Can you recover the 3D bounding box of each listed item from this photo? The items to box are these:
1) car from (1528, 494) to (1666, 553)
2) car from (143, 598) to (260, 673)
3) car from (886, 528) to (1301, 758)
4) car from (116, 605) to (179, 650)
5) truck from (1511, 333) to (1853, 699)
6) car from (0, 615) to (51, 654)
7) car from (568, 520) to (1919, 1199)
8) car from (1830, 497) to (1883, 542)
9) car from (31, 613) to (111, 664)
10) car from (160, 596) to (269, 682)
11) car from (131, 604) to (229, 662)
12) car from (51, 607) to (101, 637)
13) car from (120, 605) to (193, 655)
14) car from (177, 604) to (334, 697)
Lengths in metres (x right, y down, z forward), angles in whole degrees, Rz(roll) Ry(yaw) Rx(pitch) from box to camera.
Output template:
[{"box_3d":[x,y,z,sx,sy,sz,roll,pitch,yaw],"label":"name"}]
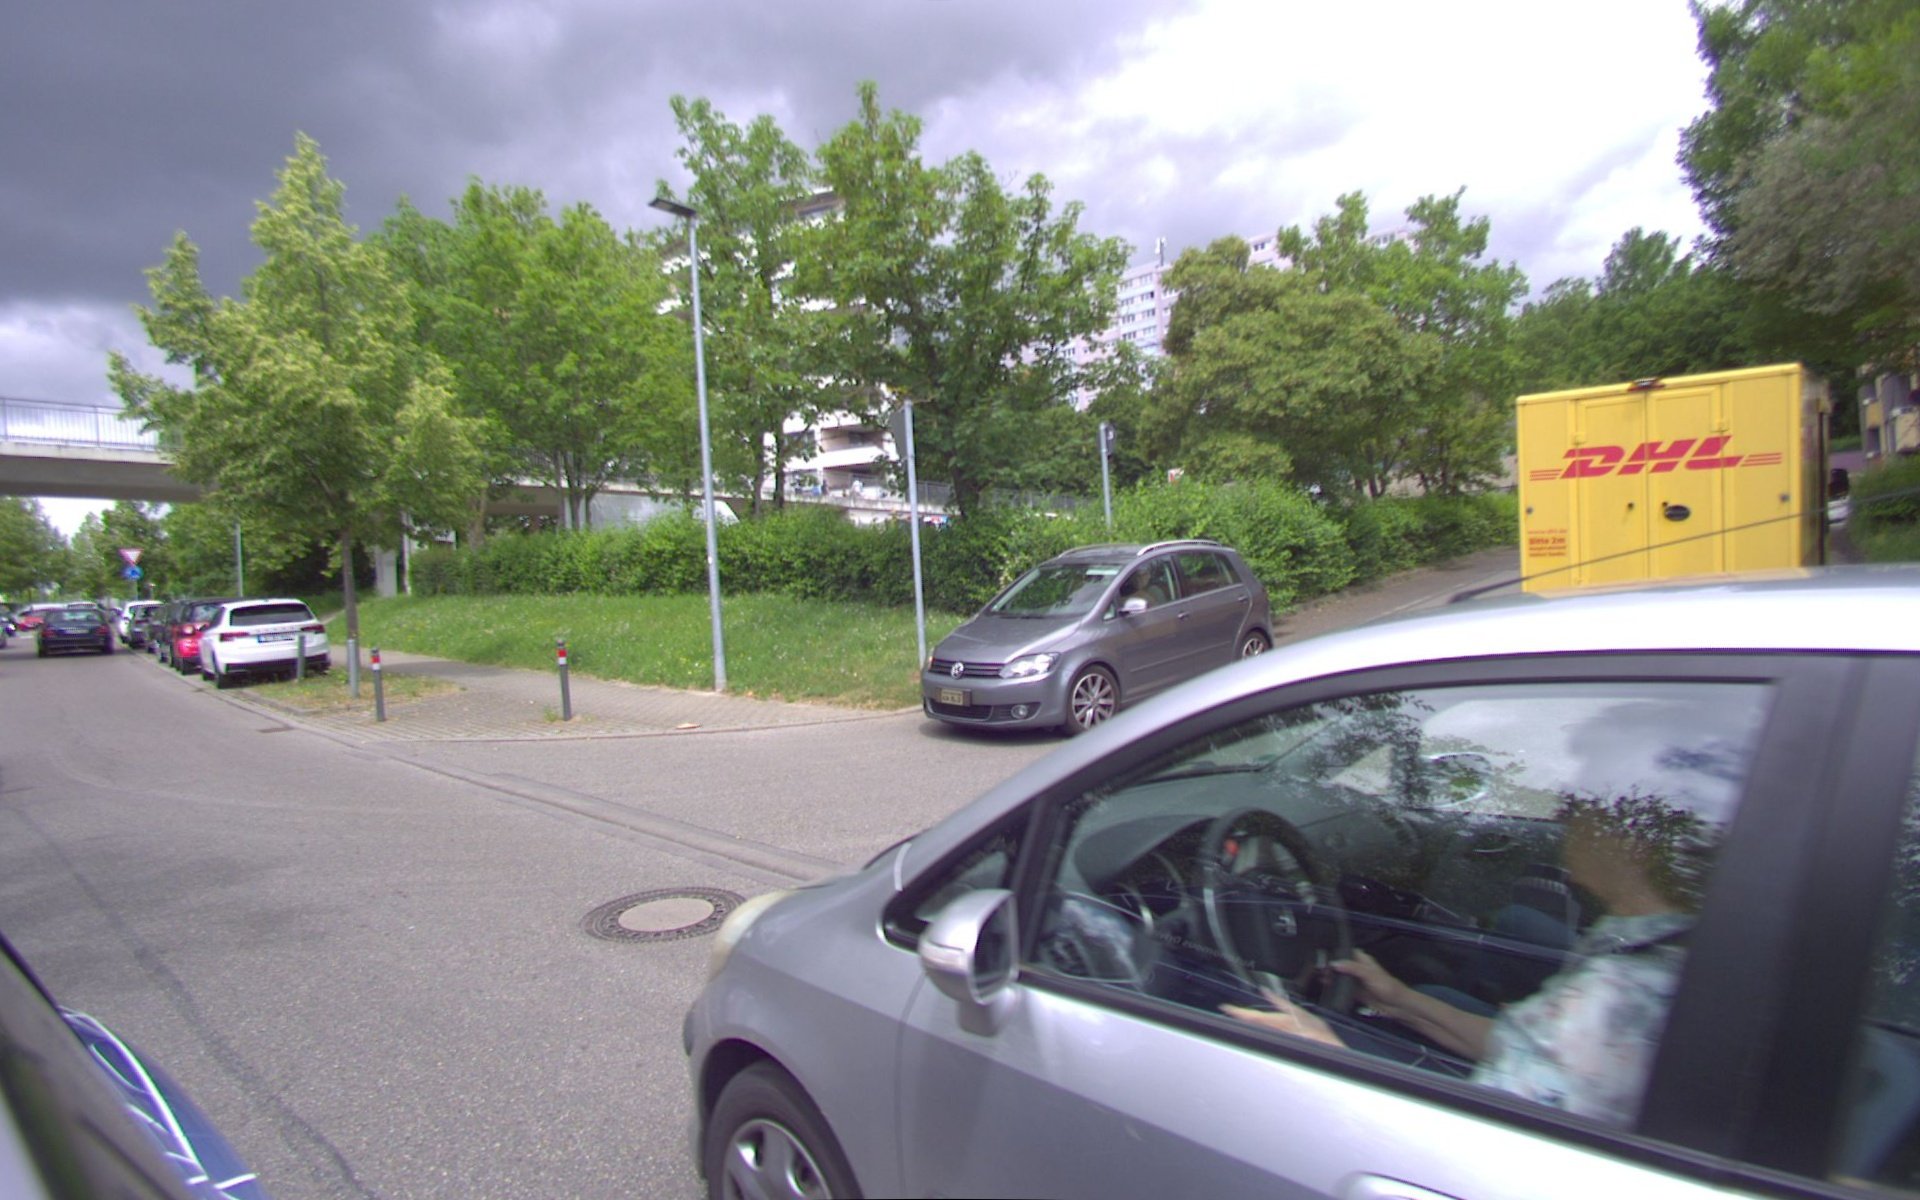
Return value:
[{"box_3d":[20.370,-2.413,32.569,1.634,1.674,4.005,-3,3,-5],"label":"car"},{"box_3d":[-18.949,0.834,25.231,1.787,1.596,3.989,-5,3,-44],"label":"car"},{"box_3d":[1.452,0.238,9.829,4.058,1.674,1.760,-6,4,-43],"label":"car"},{"box_3d":[-31.278,1.023,38.987,1.785,1.582,3.729,-2,1,-38],"label":"car"},{"box_3d":[8.123,-0.975,10.976,2.232,2.828,6.484,-1,6,42],"label":"truck"},{"box_3d":[-44.764,1.609,48.418,1.755,1.430,4.005,-4,6,-42],"label":"car"},{"box_3d":[1.150,0.662,1.429,3.654,1.467,1.820,0,1,44],"label":"car"},{"box_3d":[42.234,-3.734,47.700,1.794,1.839,3.945,-1,0,41],"label":"car"},{"box_3d":[-27.380,1.127,31.245,1.730,1.430,4.374,-1,0,-41],"label":"car"},{"box_3d":[-16.267,0.789,22.052,1.575,1.596,2.689,-7,4,-41],"label":"car"},{"box_3d":[-23.352,0.923,30.223,1.787,1.491,4.490,-4,3,-44],"label":"car"},{"box_3d":[-48.096,1.192,55.120,1.785,1.582,3.730,1,-1,-38],"label":"car"},{"box_3d":[-27.652,0.979,34.875,1.786,1.466,3.868,-5,3,-38],"label":"car"},{"box_3d":[-13.122,0.839,18.763,1.787,1.415,4.053,-5,3,-43],"label":"car"}]
